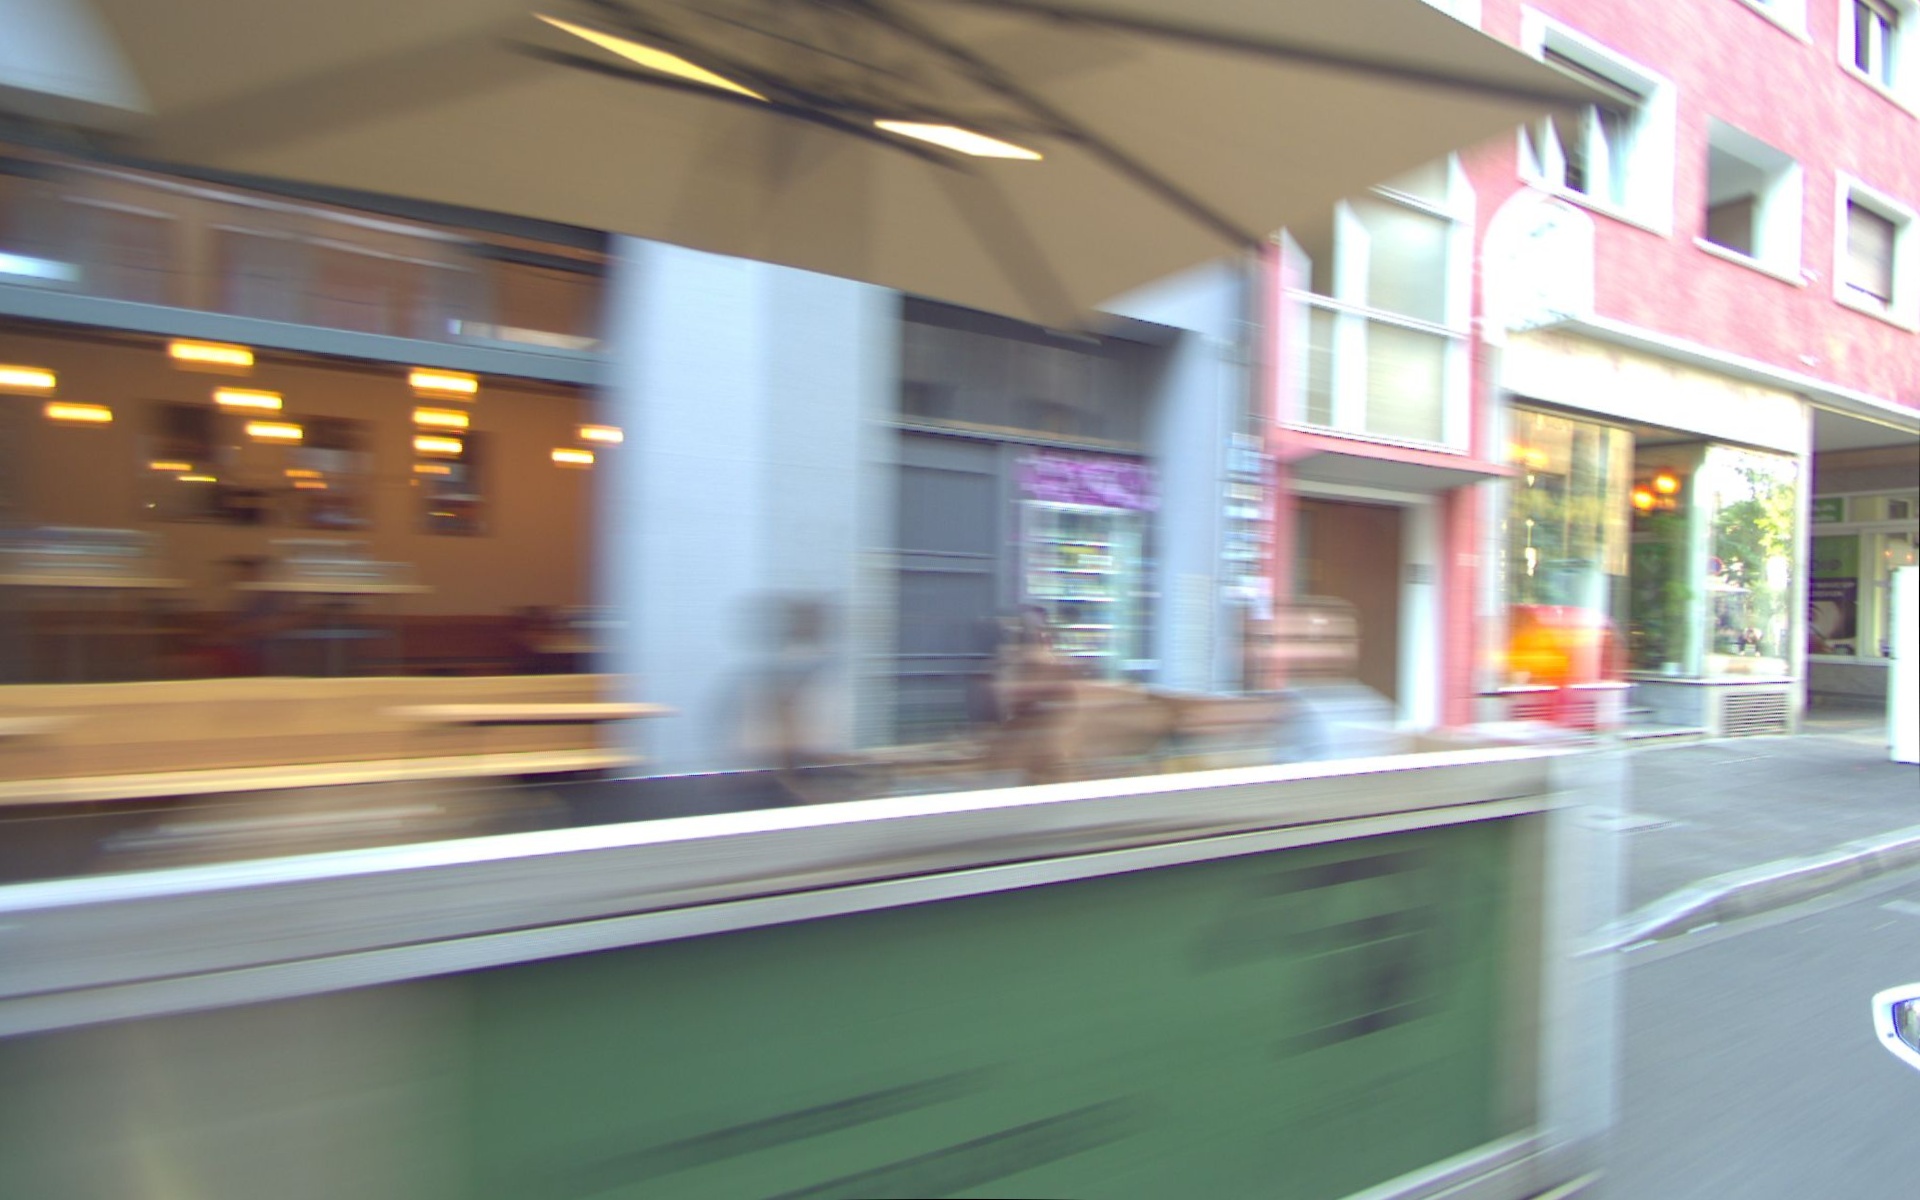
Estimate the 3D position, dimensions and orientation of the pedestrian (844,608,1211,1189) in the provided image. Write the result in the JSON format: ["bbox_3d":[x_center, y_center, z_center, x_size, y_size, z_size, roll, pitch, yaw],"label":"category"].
[{"bbox_3d":[0.140,0.572,2.295,0.542,1.077,0.605,2,0,-37],"label":"pedestrian"}]

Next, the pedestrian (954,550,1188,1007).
[{"bbox_3d":[0.398,0.584,3.682,0.542,1.492,0.605,2,0,-37],"label":"pedestrian"}]

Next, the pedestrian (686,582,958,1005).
[{"bbox_3d":[-0.420,0.499,2.971,0.542,1.077,0.605,2,0,-37],"label":"pedestrian"}]

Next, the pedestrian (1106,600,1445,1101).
[{"bbox_3d":[0.800,0.553,2.588,0.542,1.077,0.605,2,0,-37],"label":"pedestrian"}]
